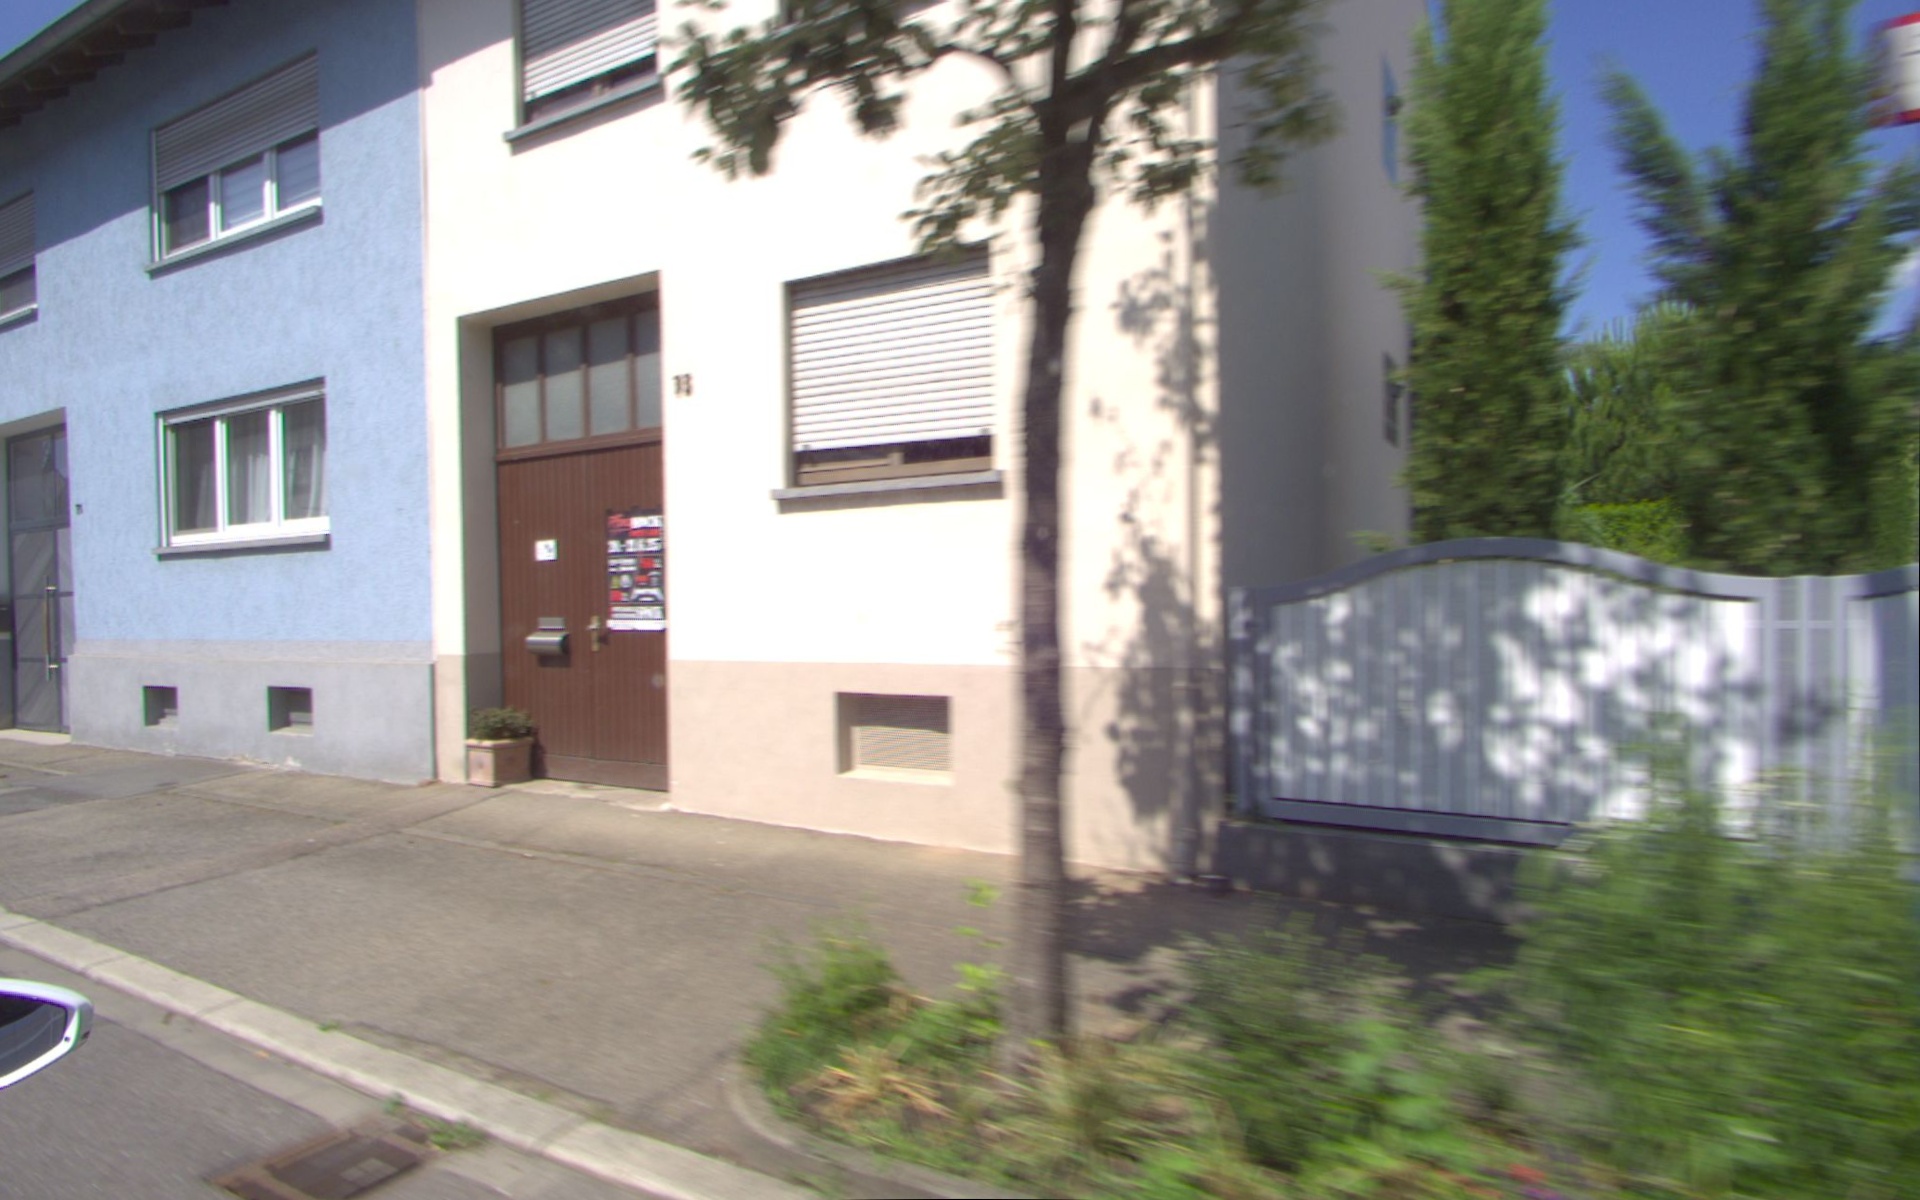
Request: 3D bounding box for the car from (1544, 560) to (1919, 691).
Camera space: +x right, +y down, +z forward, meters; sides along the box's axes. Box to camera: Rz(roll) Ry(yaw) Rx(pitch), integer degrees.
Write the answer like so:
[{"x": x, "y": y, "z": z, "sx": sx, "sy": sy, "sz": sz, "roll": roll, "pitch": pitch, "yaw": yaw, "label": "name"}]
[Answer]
[{"x": 10.075, "y": 0.298, "z": 13.193, "sx": 1.626, "sy": 1.454, "sz": 3.922, "roll": -1, "pitch": 0, "yaw": -23, "label": "car"}]
